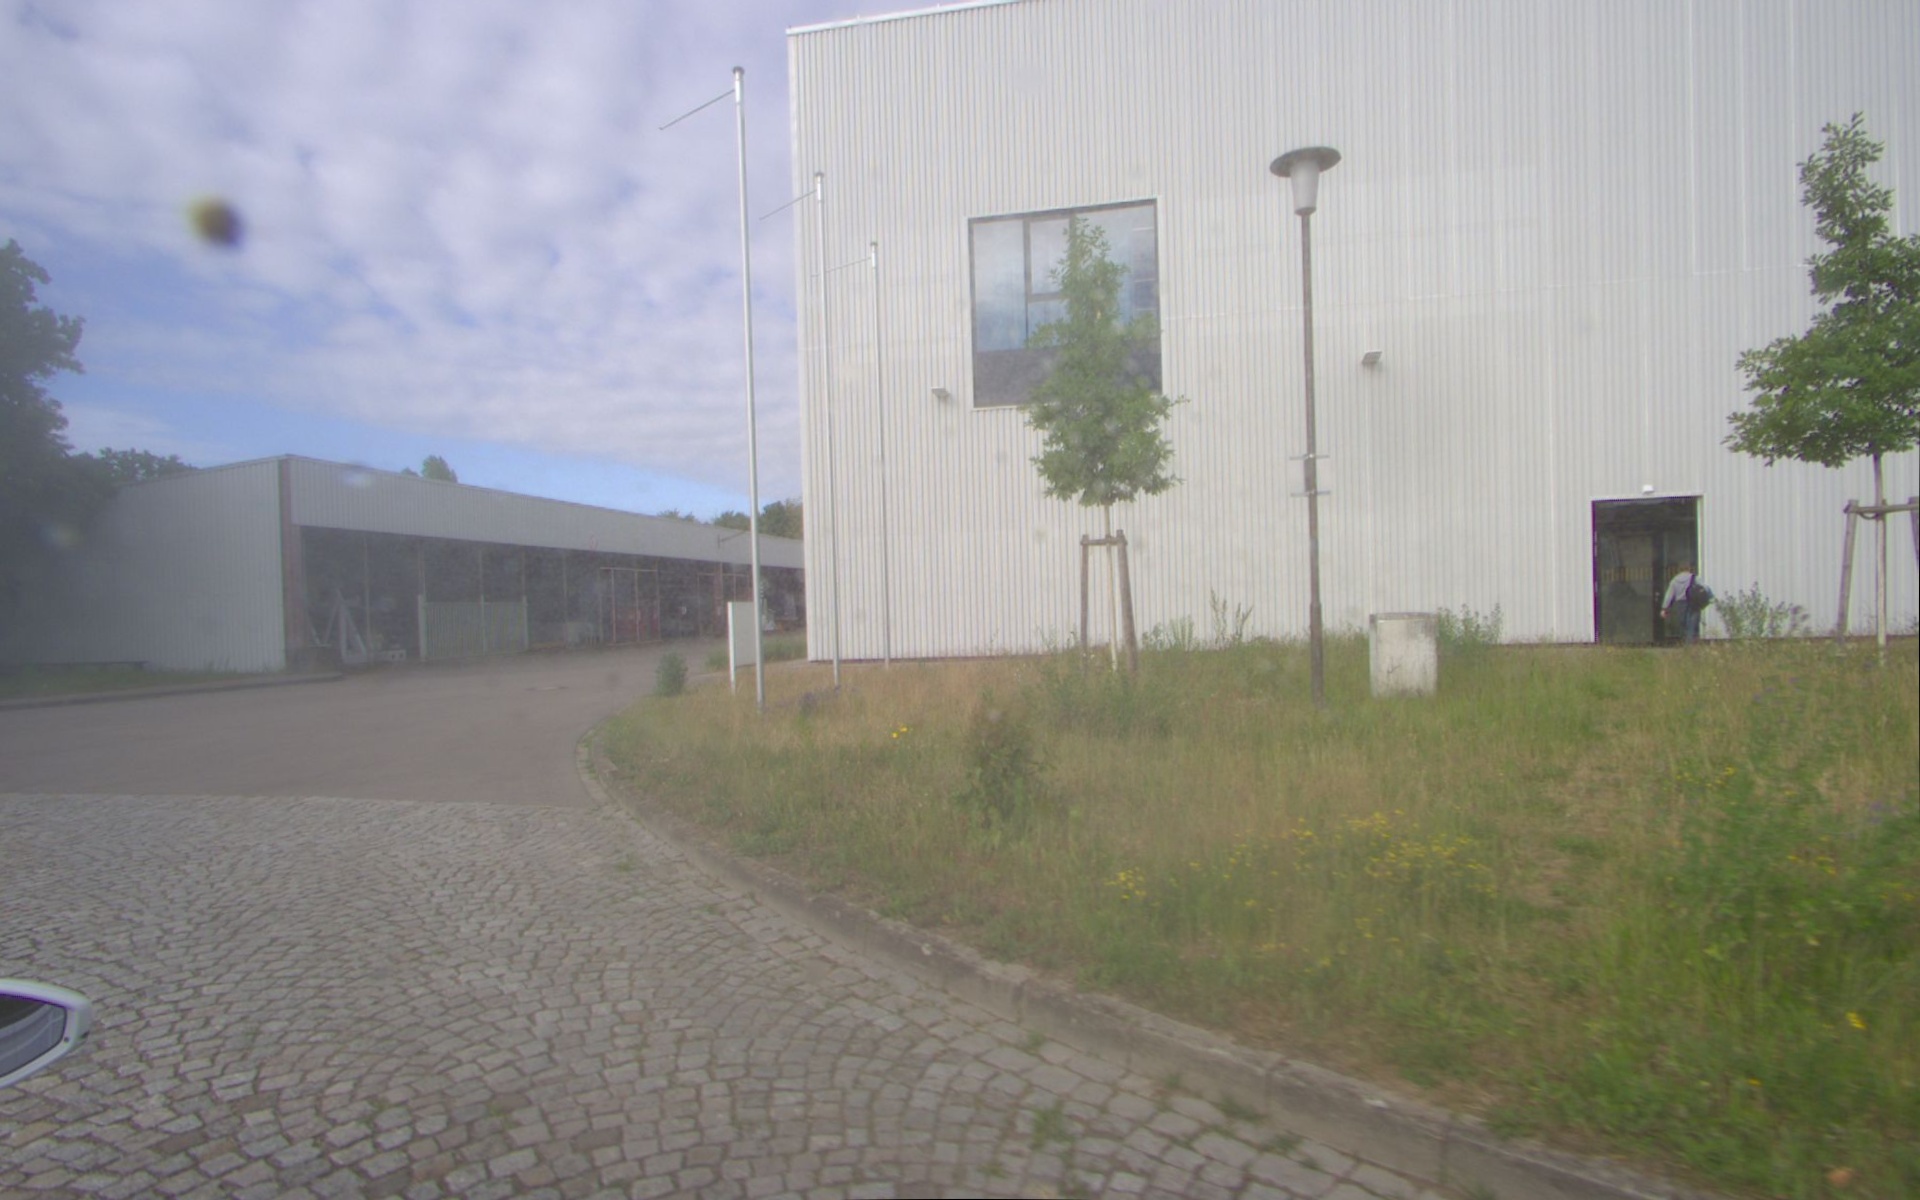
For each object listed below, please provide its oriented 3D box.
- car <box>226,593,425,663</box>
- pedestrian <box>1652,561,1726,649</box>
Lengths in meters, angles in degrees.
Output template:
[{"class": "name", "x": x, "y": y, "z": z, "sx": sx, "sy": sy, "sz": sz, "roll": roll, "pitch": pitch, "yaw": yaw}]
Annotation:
[{"class": "car", "x": -20.420, "y": 0.890, "z": 32.324, "sx": 5.235, "sy": 2.040, "sz": 2.247, "roll": -2, "pitch": 0, "yaw": 10}, {"class": "pedestrian", "x": 13.612, "y": 0.091, "z": 18.725, "sx": 1.061, "sy": 1.577, "sz": 1.072, "roll": -2, "pitch": 1, "yaw": 35}]
